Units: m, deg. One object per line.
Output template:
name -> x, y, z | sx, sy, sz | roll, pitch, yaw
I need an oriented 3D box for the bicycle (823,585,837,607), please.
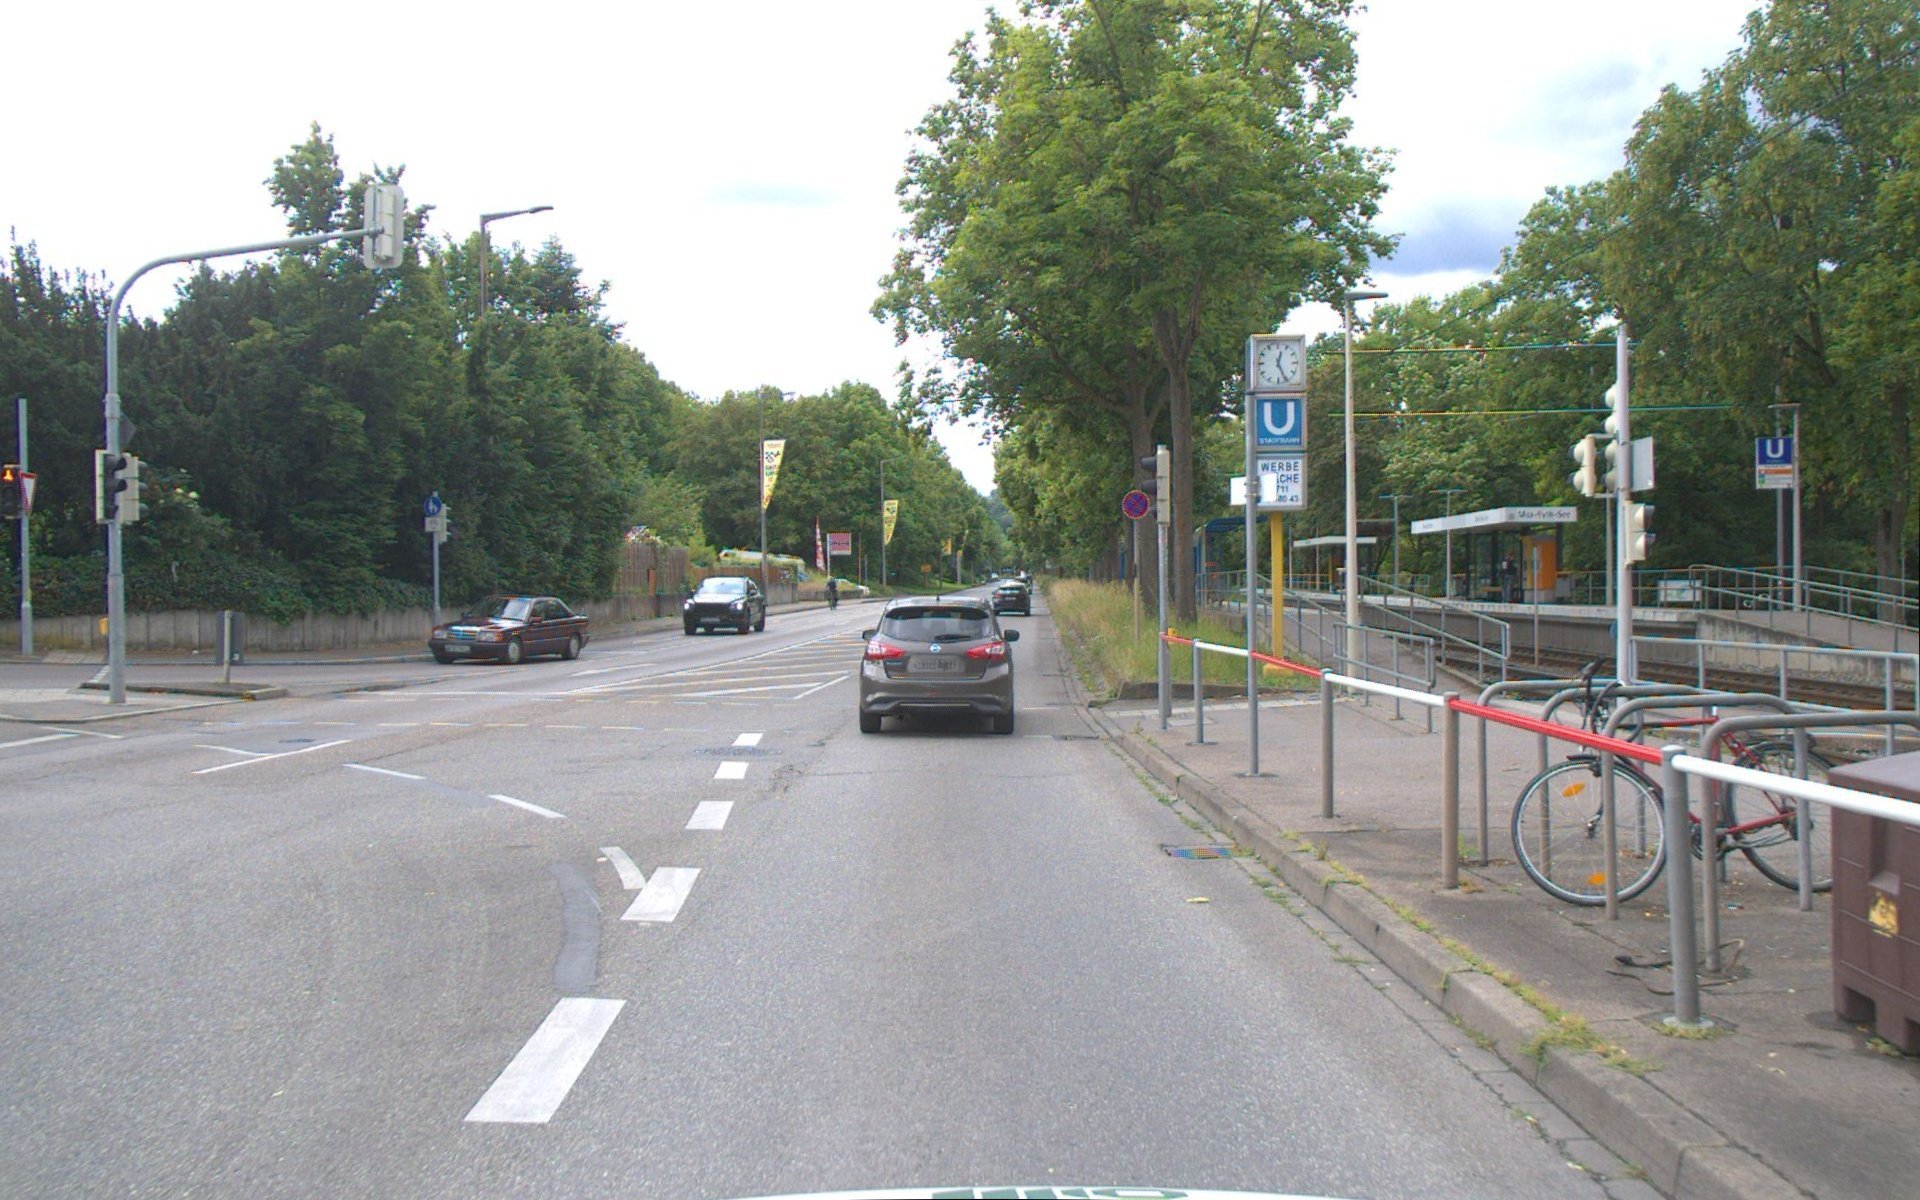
bicycle -> -7.006, -0.219, 89.045 | 0.629, 1.165, 2.147 | 1, 1, -2

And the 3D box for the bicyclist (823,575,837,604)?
bicyclist -> -7.002, -0.564, 89.069 | 0.629, 1.562, 0.978 | 1, 0, -2

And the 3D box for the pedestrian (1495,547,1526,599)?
pedestrian -> 16.505, -0.812, 49.621 | 0.703, 1.538, 0.724 | 1, 0, 5

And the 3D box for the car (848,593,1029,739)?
car -> -0.153, 0.699, 19.756 | 1.798, 1.555, 3.931 | 0, 0, 4

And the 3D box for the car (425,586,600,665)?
car -> -9.179, 0.503, 34.299 | 1.704, 1.490, 4.346 | 1, 0, 12

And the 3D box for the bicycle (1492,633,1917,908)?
bicycle -> 3.392, 0.757, 7.619 | 1.640, 1.109, 0.602 | -3, 0, -1

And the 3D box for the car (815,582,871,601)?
car -> -9.426, -0.684, 133.241 | 4.285, 1.466, 1.961 | 1, 0, 0

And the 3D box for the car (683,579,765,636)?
car -> -7.470, 0.217, 52.833 | 1.863, 1.708, 5.081 | 0, 0, 0

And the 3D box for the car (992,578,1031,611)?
car -> 2.483, -0.279, 78.742 | 1.674, 1.501, 3.673 | 1, 0, 4

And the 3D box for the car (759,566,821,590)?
car -> -11.625, -1.493, 113.121 | 3.902, 1.523, 1.861 | 1, 0, 7

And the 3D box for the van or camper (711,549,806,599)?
van or camper -> -16.177, -2.094, 133.329 | 6.995, 3.428, 2.797 | 5, 1, 2
